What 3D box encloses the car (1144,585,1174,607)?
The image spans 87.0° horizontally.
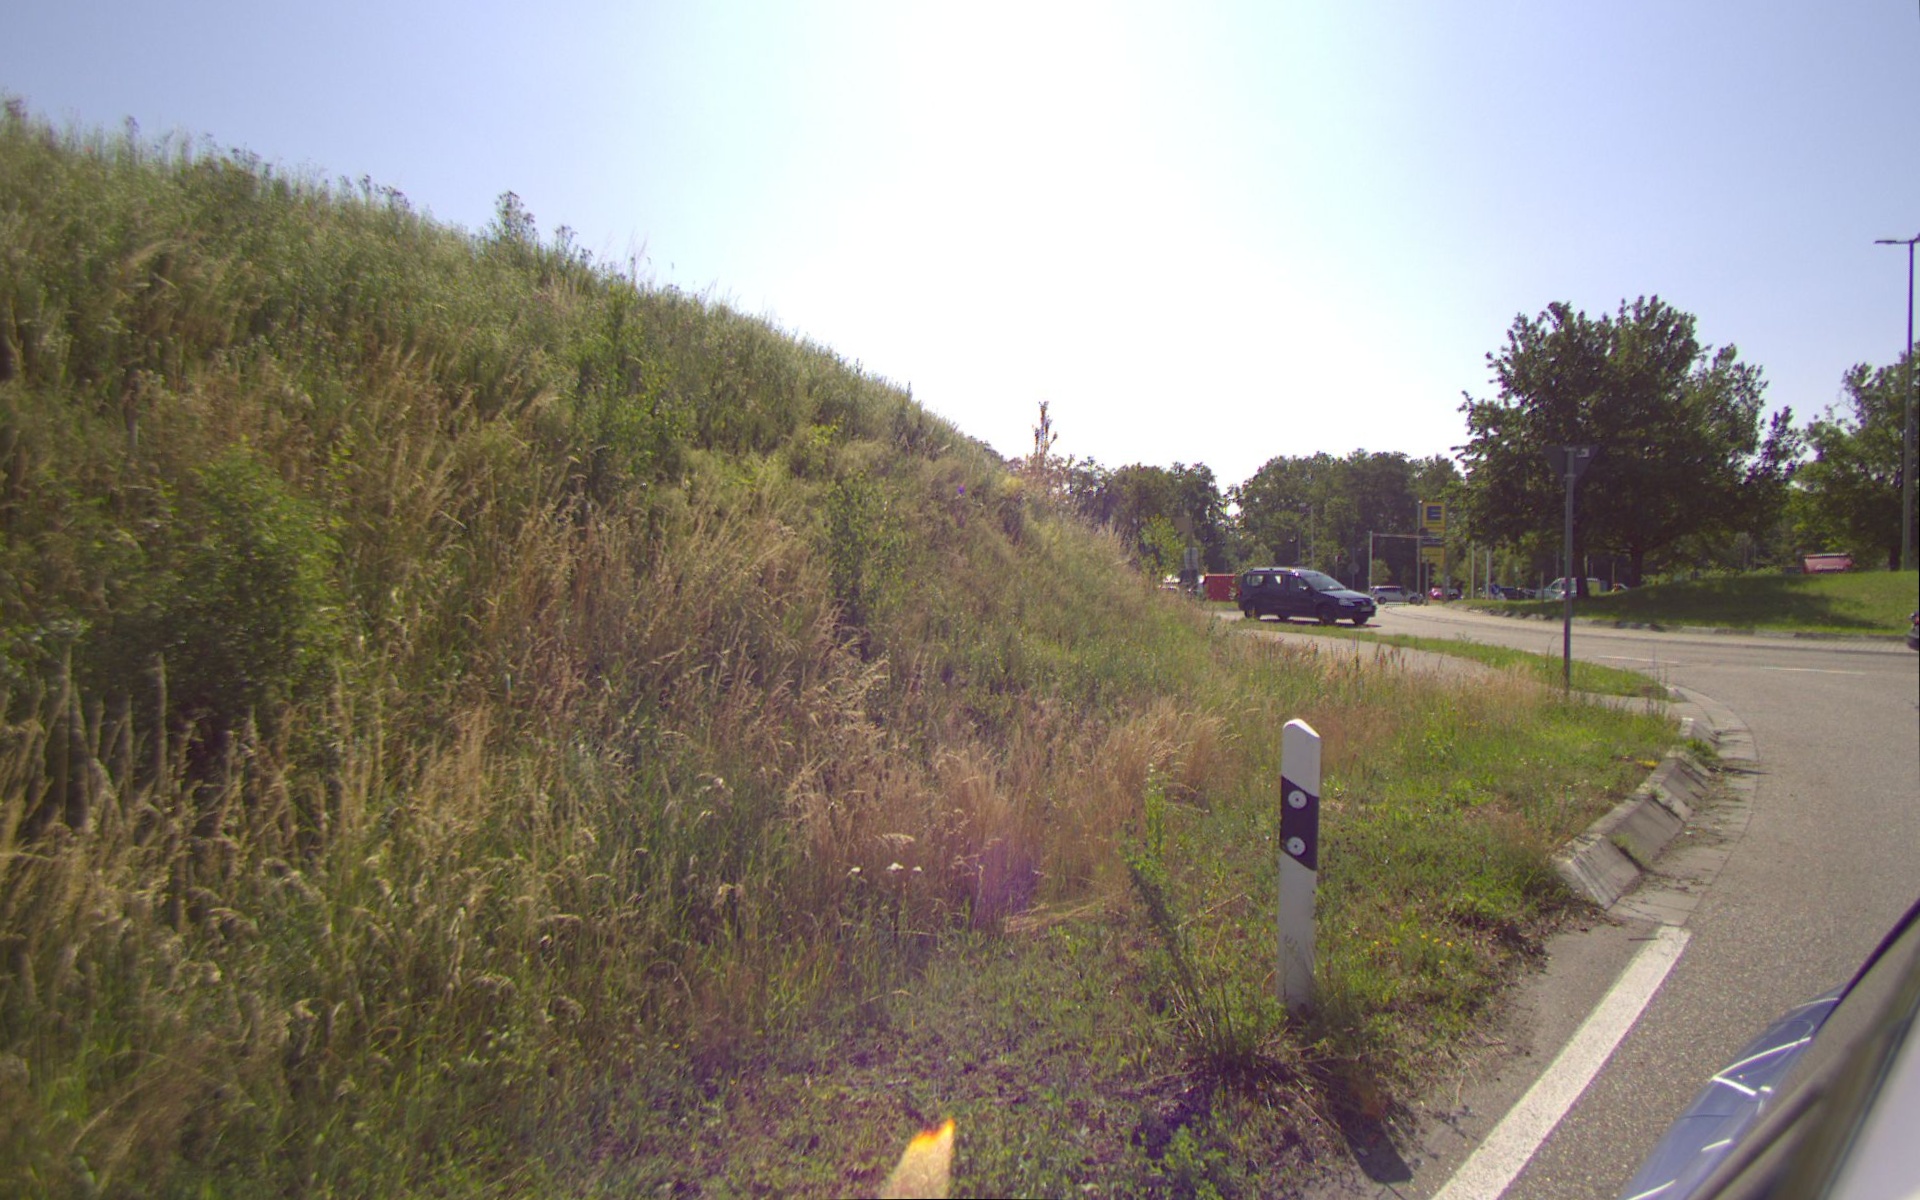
[{"bbox_3d":[12.216,-0.268,61.950,1.434,1.304,2.813,1,1,19],"label":"car"}]

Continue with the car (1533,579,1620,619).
[{"bbox_3d":[41.871,-0.118,68.796,4.826,2.563,1.828,2,1,41],"label":"car"}]

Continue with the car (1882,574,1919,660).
[{"bbox_3d":[19.096,0.339,17.466,4.662,1.508,1.787,2,3,42],"label":"car"}]

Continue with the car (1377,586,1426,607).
[{"bbox_3d":[40.920,-0.345,93.921,3.947,1.816,1.601,1,1,18],"label":"car"}]

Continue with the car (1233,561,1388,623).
[{"bbox_3d":[10.607,-0.274,30.895,1.675,1.676,4.355,-4,3,-32],"label":"car"}]

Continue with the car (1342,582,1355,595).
[{"bbox_3d":[51.261,-1.536,133.672,1.496,1.647,3.654,1,1,19],"label":"car"}]

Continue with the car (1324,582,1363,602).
[{"bbox_3d":[32.368,-0.697,85.517,1.631,1.674,4.211,1,1,-2],"label":"car"}]

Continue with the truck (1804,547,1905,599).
[{"bbox_3d":[52.814,-1.532,59.664,8.885,2.866,2.481,0,1,-35],"label":"truck"}]
